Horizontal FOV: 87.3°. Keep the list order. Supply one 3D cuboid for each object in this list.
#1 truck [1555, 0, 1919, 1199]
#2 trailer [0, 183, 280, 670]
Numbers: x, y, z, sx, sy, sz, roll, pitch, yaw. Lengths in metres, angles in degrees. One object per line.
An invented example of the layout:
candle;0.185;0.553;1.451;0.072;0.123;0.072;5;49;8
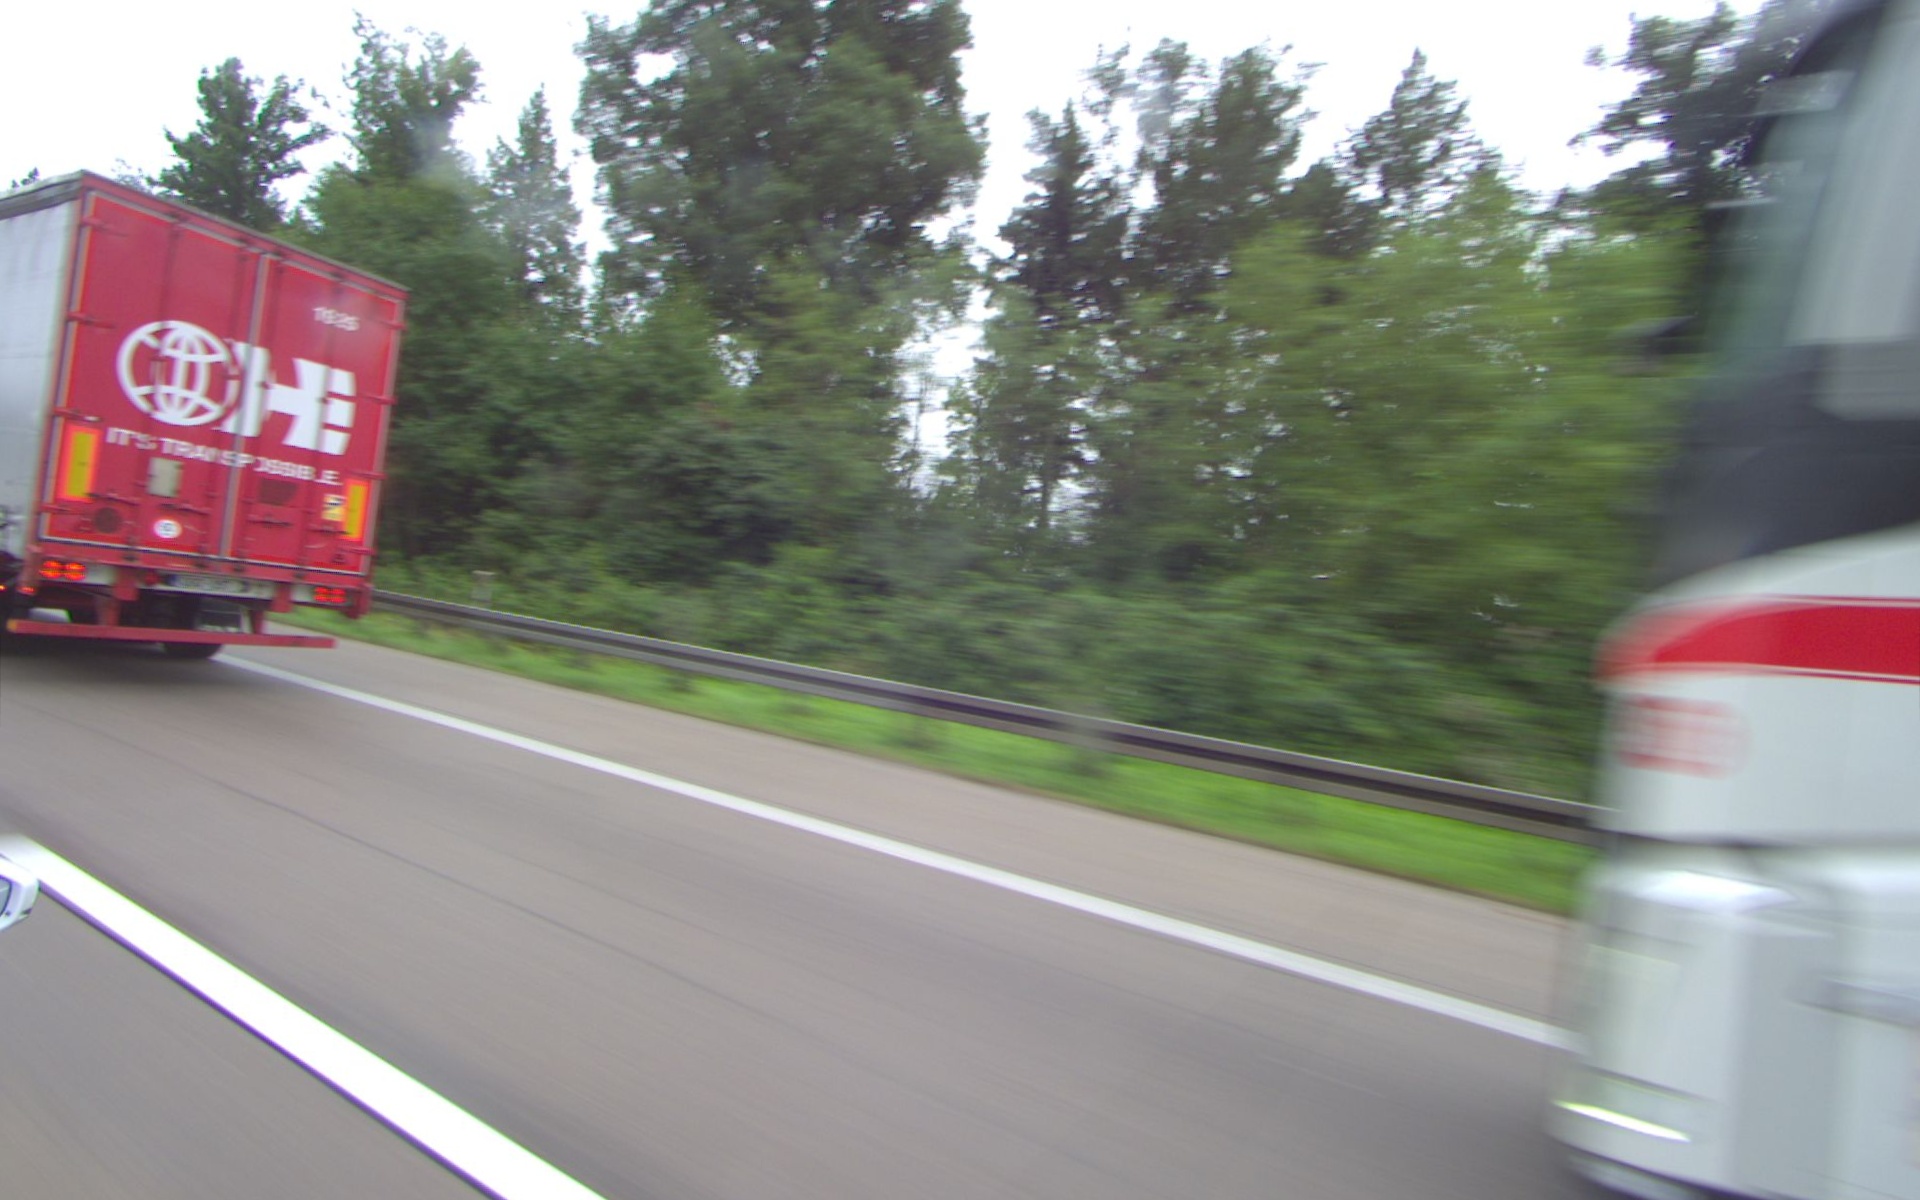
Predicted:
truck;4.518;0.026;1.468;5.870;4.152;2.803;7;-1;33
trailer;-12.980;-2.010;12.317;12.309;4.001;2.375;7;-1;31
